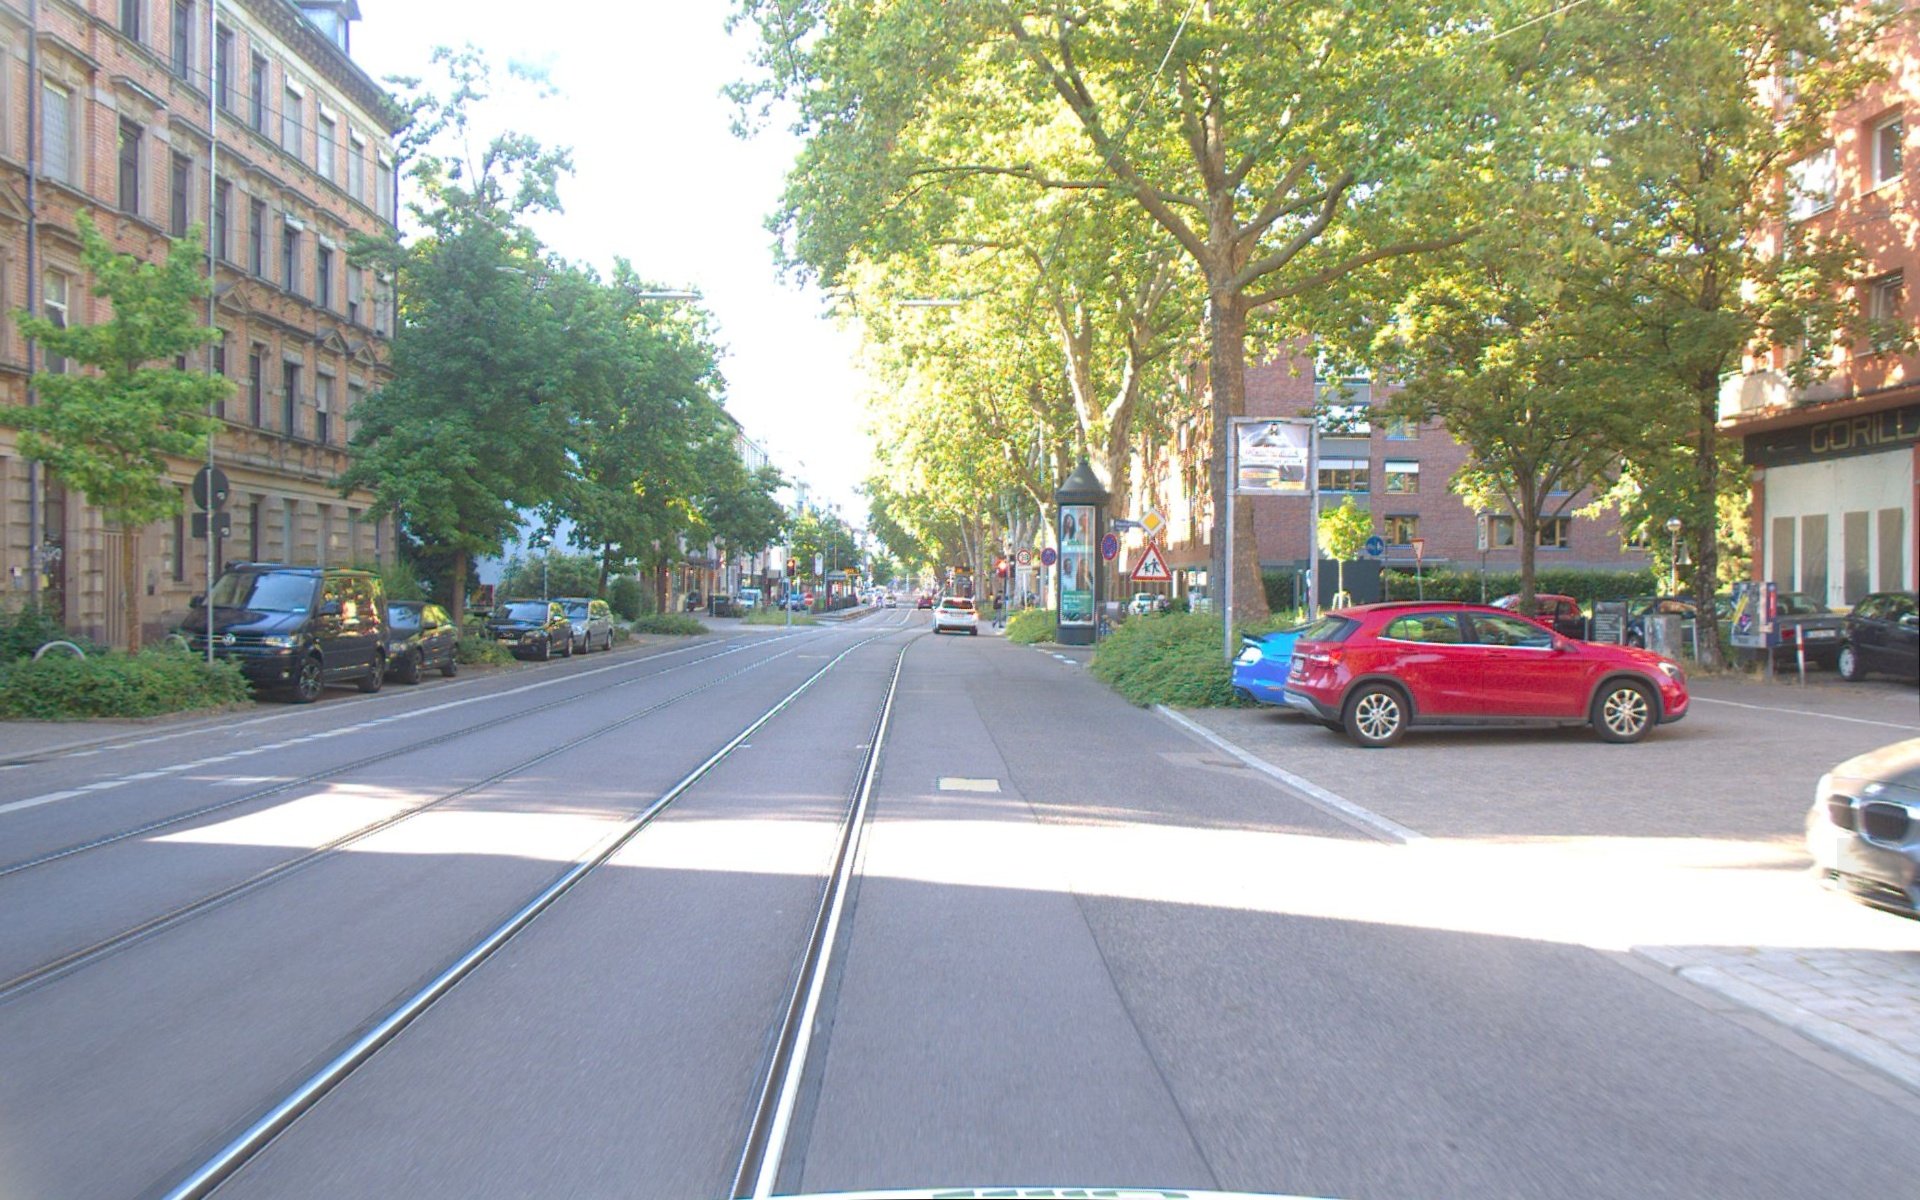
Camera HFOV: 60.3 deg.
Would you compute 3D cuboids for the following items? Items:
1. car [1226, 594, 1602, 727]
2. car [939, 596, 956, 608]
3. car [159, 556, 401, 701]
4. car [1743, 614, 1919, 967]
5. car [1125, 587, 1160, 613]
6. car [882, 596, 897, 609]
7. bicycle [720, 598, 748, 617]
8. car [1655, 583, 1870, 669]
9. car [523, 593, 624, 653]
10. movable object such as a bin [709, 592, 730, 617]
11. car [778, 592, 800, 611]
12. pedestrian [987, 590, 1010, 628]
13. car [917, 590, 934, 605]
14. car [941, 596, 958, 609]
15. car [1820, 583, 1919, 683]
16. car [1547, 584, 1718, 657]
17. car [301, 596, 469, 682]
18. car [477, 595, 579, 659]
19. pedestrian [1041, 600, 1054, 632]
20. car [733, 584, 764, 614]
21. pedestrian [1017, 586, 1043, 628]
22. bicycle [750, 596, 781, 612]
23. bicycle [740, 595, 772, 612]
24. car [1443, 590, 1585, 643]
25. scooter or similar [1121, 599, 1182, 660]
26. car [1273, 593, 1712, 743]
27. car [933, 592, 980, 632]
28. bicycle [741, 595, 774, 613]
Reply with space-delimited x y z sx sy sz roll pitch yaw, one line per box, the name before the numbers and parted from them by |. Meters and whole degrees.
car | 5.586 0.714 20.784 4.310 1.570 1.819 0 0 5
car | -1.539 0.241 198.149 1.953 1.478 3.999 0 0 -2
car | -10.388 0.389 25.719 1.954 2.049 4.832 0 0 -3
car | 6.103 0.817 7.662 4.115 1.473 1.817 0 0 -2
car | 11.019 0.004 100.215 1.568 1.521 3.415 0 0 -3
car | -8.336 0.270 195.968 1.659 1.444 3.999 0 0 -2
bicycle | -13.699 0.447 100.313 1.503 1.094 0.885 3 0 -3
car | 14.631 0.430 30.443 1.713 1.460 4.467 0 0 -1
car | -10.831 0.609 46.653 1.664 1.577 4.537 1 0 1
movable object such as a bin | -14.276 0.271 98.223 1.147 1.372 0.782 4 0 -6
car | -14.911 0.160 144.716 1.561 1.575 3.999 2 0 -2
pedestrian | 1.860 0.446 80.206 0.975 1.843 0.863 0 0 -7
car | -3.575 -0.229 170.465 1.752 1.540 3.999 0 0 -2
car | -1.217 0.246 193.072 1.953 1.478 3.999 0 0 -2
car | 14.888 0.473 24.951 1.713 1.460 3.949 0 0 -1
car | 15.702 0.428 38.902 1.755 1.602 4.571 0 0 -7
car | -10.626 0.670 30.882 1.816 1.484 4.268 0 0 -3
car | -10.688 0.636 41.162 1.625 1.470 3.948 1 0 -2
pedestrian | 4.657 0.865 88.344 0.639 1.698 0.737 0 0 -2
car | -14.250 -0.076 111.552 1.654 1.974 3.999 0 0 -2
pedestrian | 3.246 0.331 76.714 0.964 1.896 1.014 -3 0 -7
bicycle | -14.857 0.272 126.351 2.207 1.092 0.636 4 0 -1
bicycle | -14.897 0.243 120.807 2.207 1.092 0.636 4 0 -1
car | 15.712 0.457 46.984 3.467 1.477 1.682 0 0 -4
scooter or similar | 3.973 0.608 34.384 1.184 1.261 0.569 0 -1 -4
car | 5.826 0.717 18.506 4.312 1.570 1.952 0 0 1
car | -0.163 0.470 65.684 1.752 1.540 3.999 0 0 -2
bicycle | -14.587 0.286 119.084 2.207 1.092 0.636 4 0 -1
